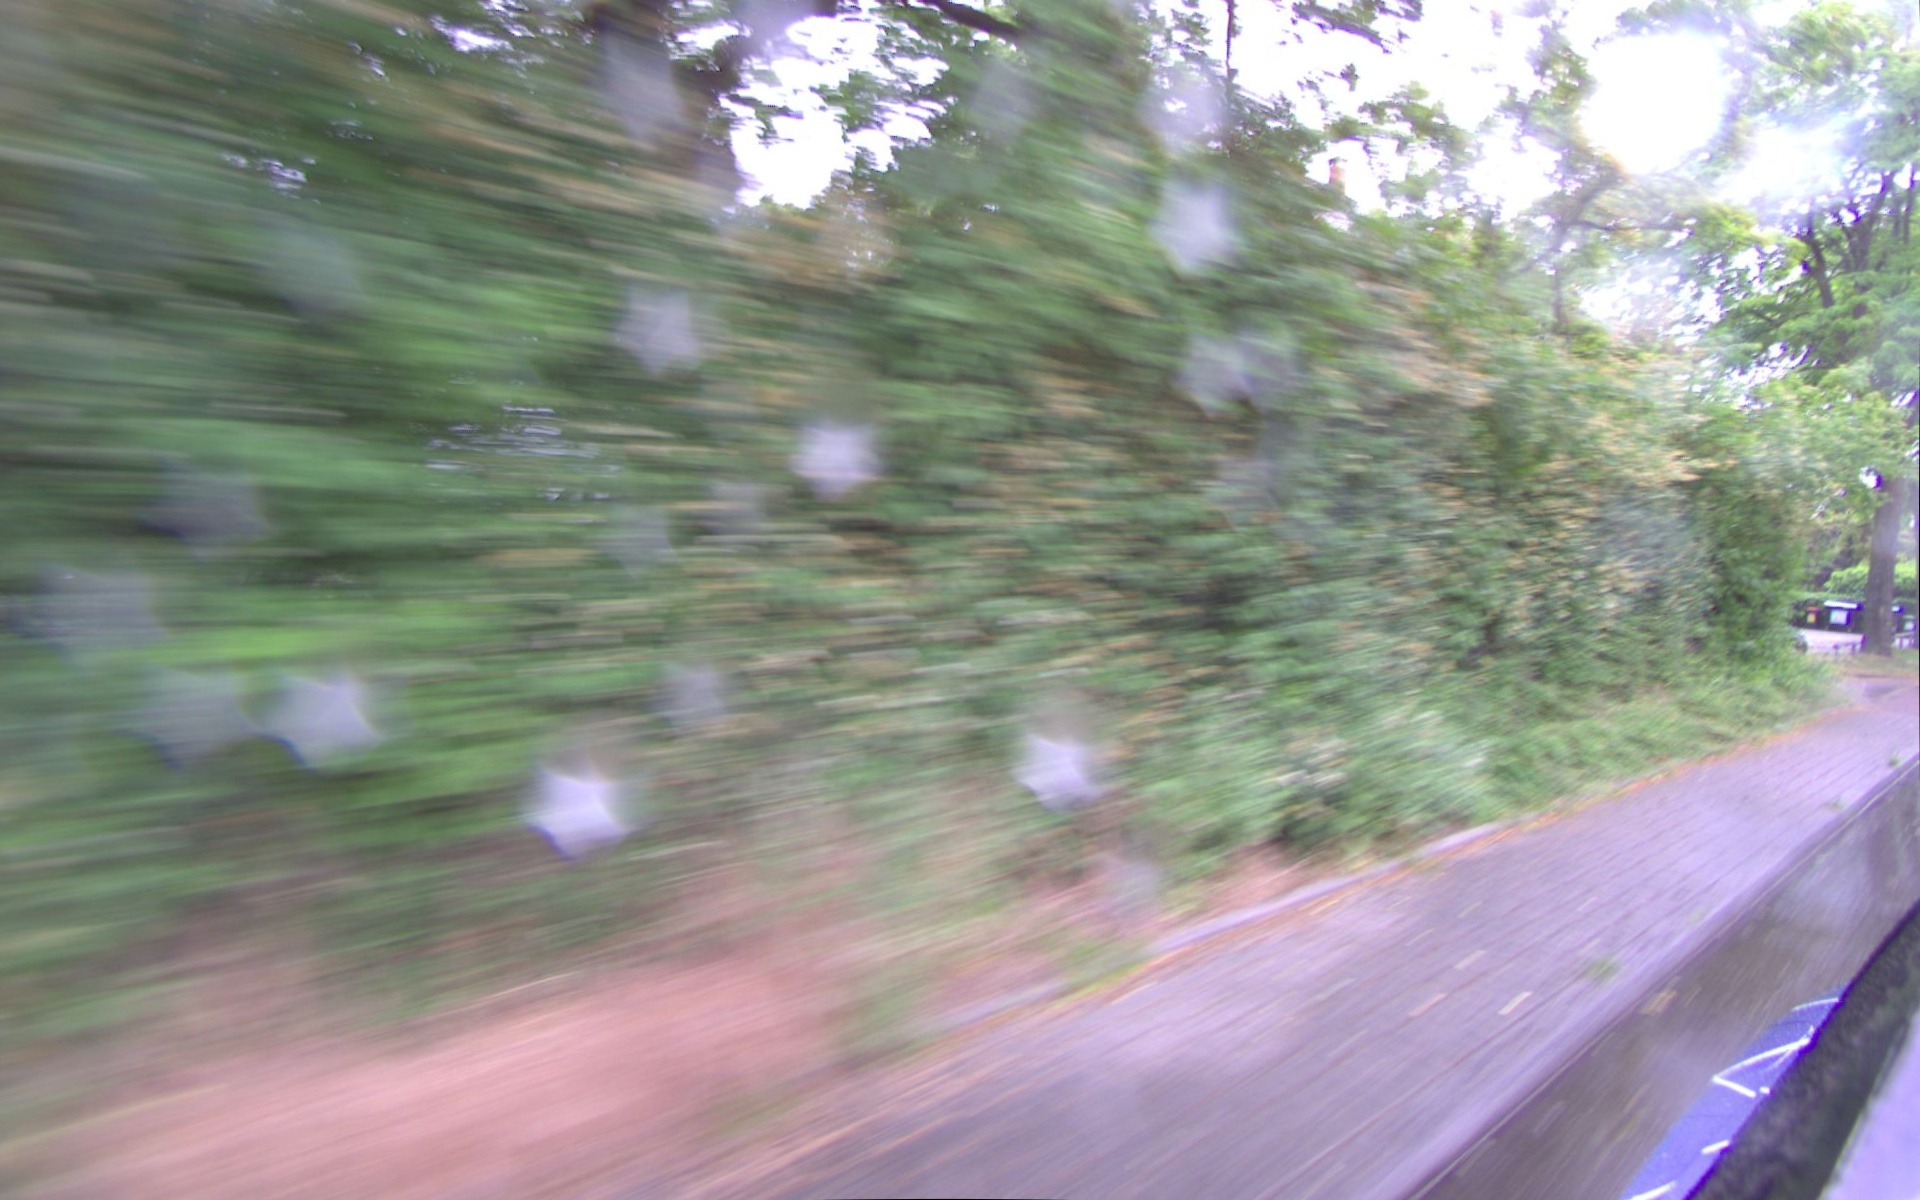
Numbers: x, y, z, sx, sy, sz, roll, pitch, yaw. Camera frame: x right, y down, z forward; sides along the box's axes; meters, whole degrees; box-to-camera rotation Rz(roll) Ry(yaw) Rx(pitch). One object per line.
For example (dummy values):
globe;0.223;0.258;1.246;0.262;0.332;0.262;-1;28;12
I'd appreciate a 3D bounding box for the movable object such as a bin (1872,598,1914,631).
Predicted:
movable object such as a bin;44.071;0.687;47.810;0.782;1.435;1.295;1;4;-42

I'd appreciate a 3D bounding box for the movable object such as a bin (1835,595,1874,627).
movable object such as a bin;43.305;0.527;48.999;0.782;1.453;1.238;1;5;-42

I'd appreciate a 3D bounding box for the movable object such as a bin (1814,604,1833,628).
movable object such as a bin;42.484;0.785;49.780;0.521;1.093;0.567;1;4;-42

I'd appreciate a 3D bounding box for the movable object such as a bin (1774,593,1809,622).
movable object such as a bin;41.646;0.374;50.665;0.782;1.359;1.151;1;4;-41

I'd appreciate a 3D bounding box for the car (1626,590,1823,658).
car;19.067;0.560;25.386;3.556;1.570;1.617;1;1;11
